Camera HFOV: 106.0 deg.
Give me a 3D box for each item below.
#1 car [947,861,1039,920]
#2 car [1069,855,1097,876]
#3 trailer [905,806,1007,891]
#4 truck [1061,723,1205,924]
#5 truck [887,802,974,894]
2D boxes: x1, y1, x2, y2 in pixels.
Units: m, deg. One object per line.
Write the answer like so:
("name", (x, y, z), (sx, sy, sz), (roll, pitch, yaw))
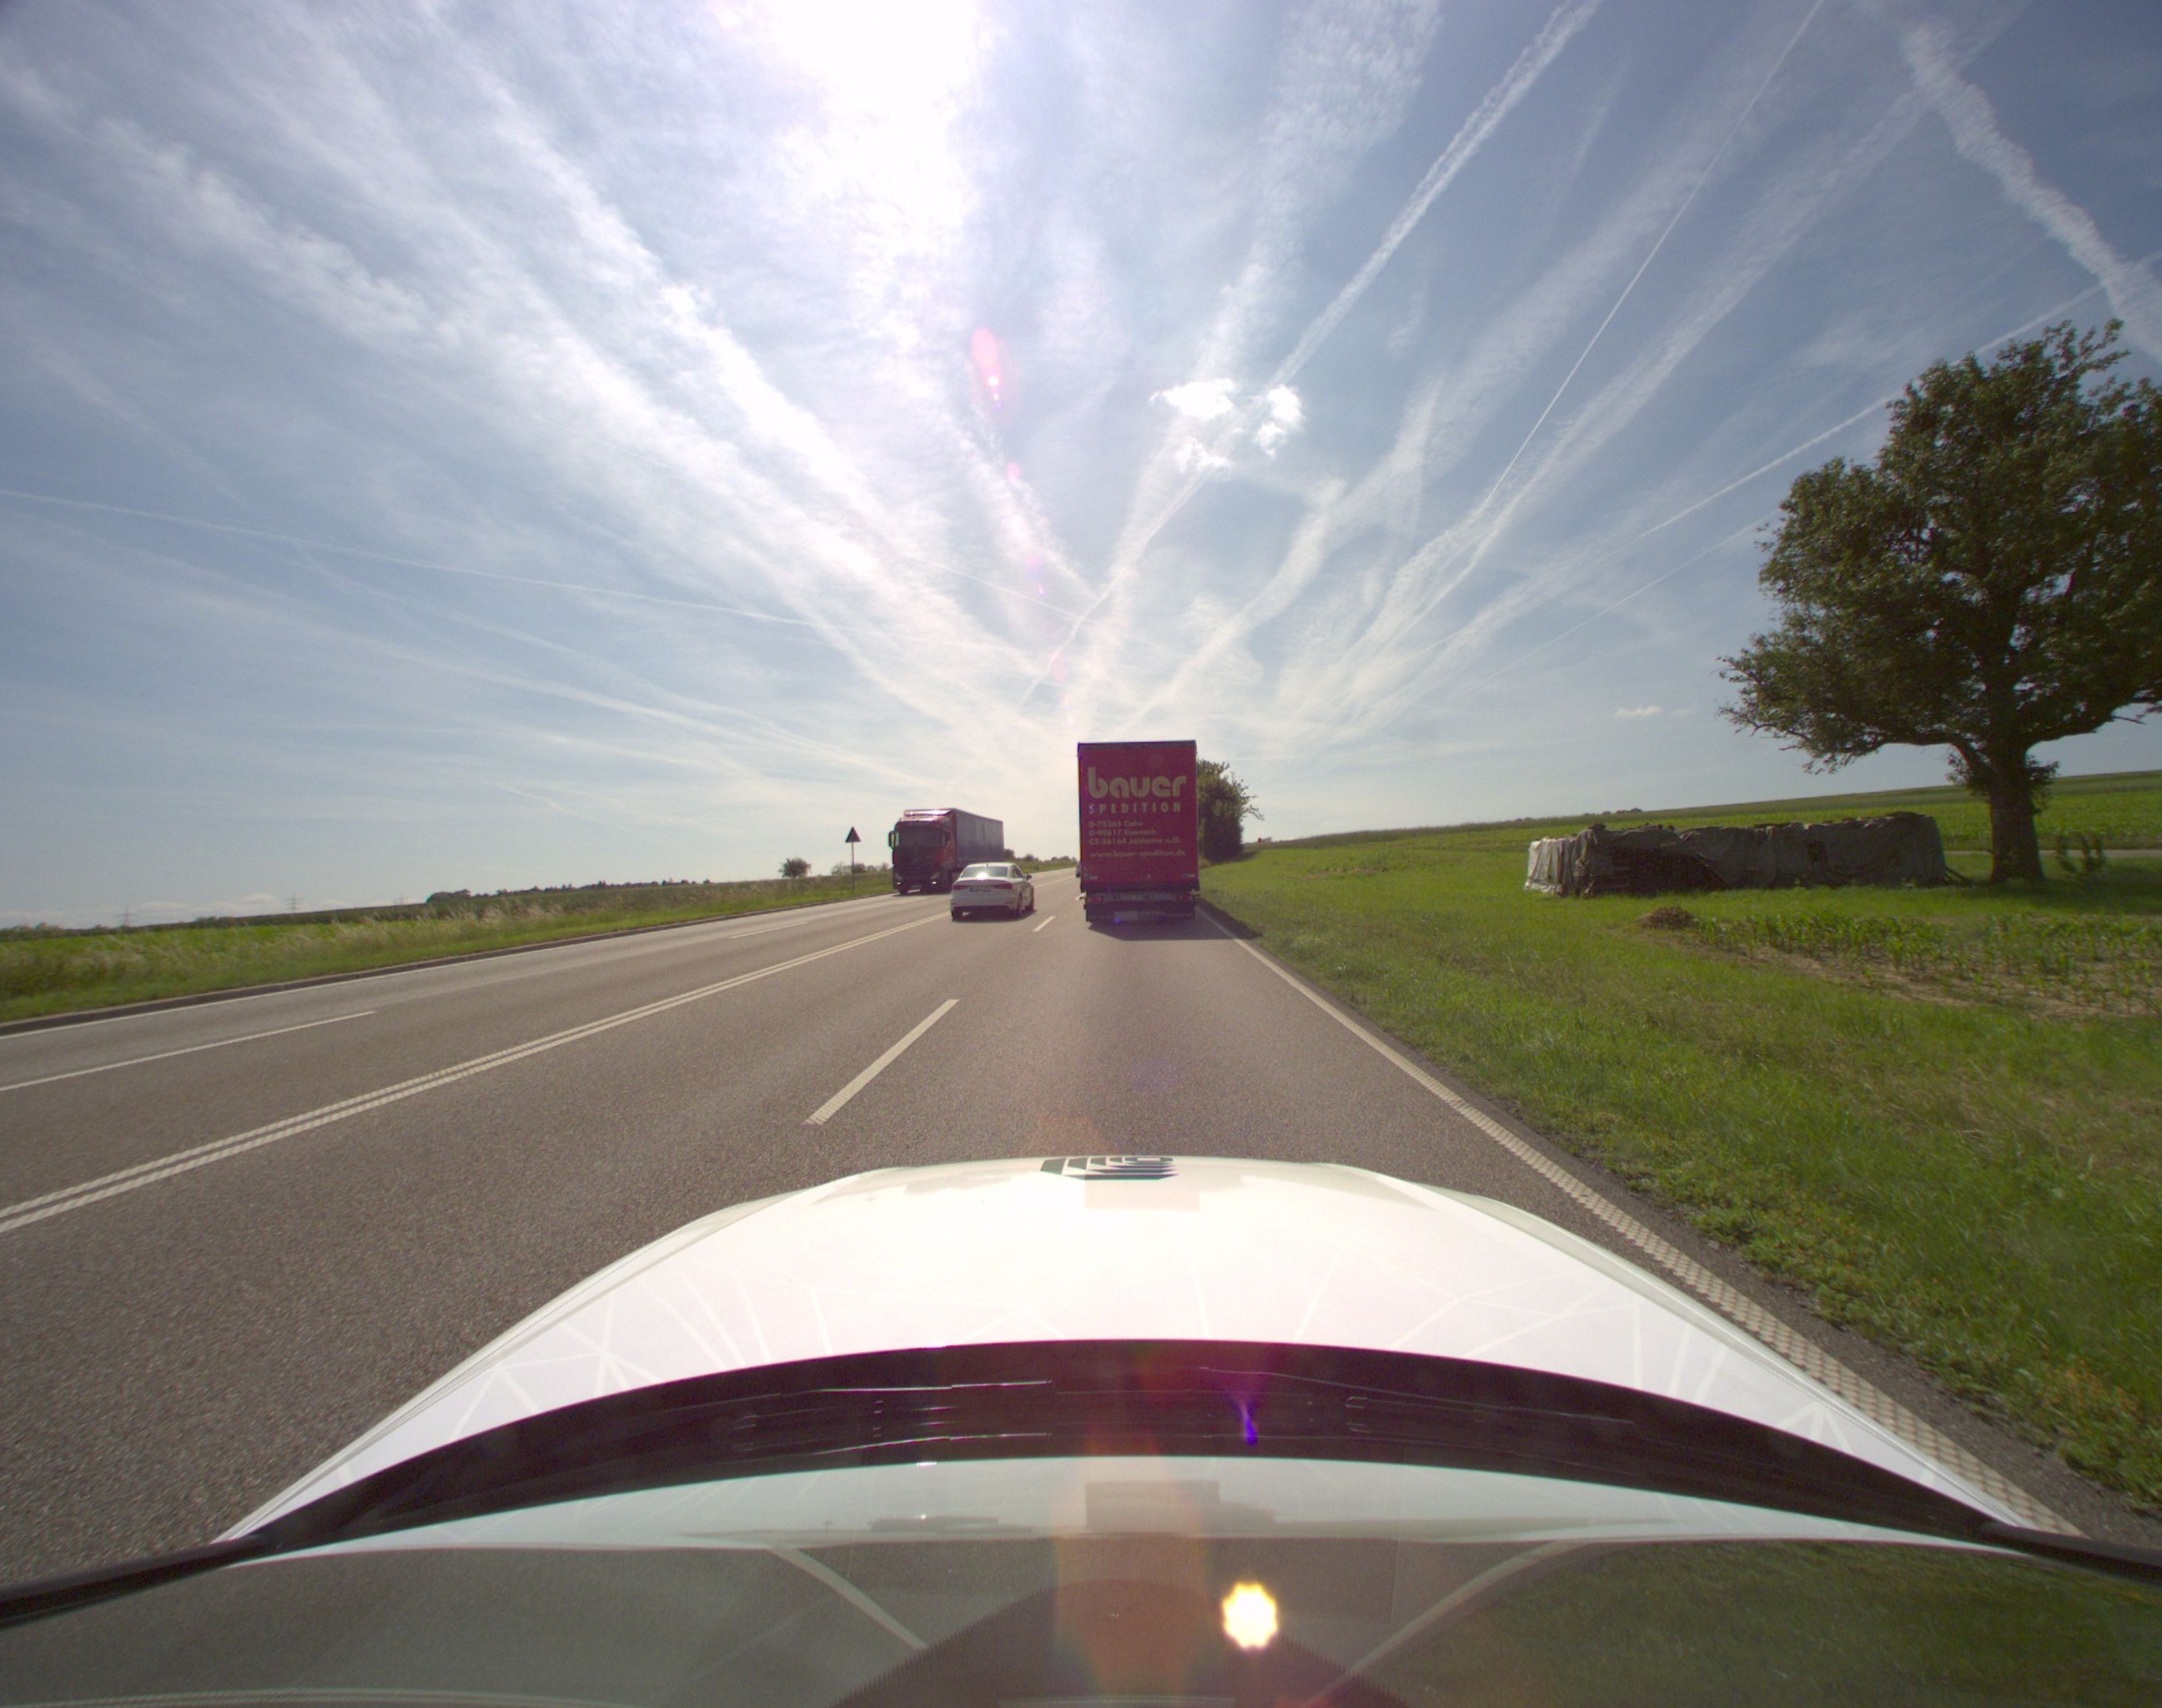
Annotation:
("car", (-2.254, 0.900, 21.995), (1.696, 1.376, 4.607), (-1, 0, 4))
("car", (0.197, 0.843, 60.377), (1.813, 1.472, 4.792), (0, 0, 3))
("trailer", (-6.807, -0.274, 47.213), (2.533, 4.101, 13.601), (-3, 0, 5))
("truck", (1.434, -0.587, 25.349), (2.995, 4.180, 16.723), (0, 0, 2))
("truck", (-7.360, -0.280, 40.572), (2.605, 4.101, 6.095), (-3, 0, 4))
